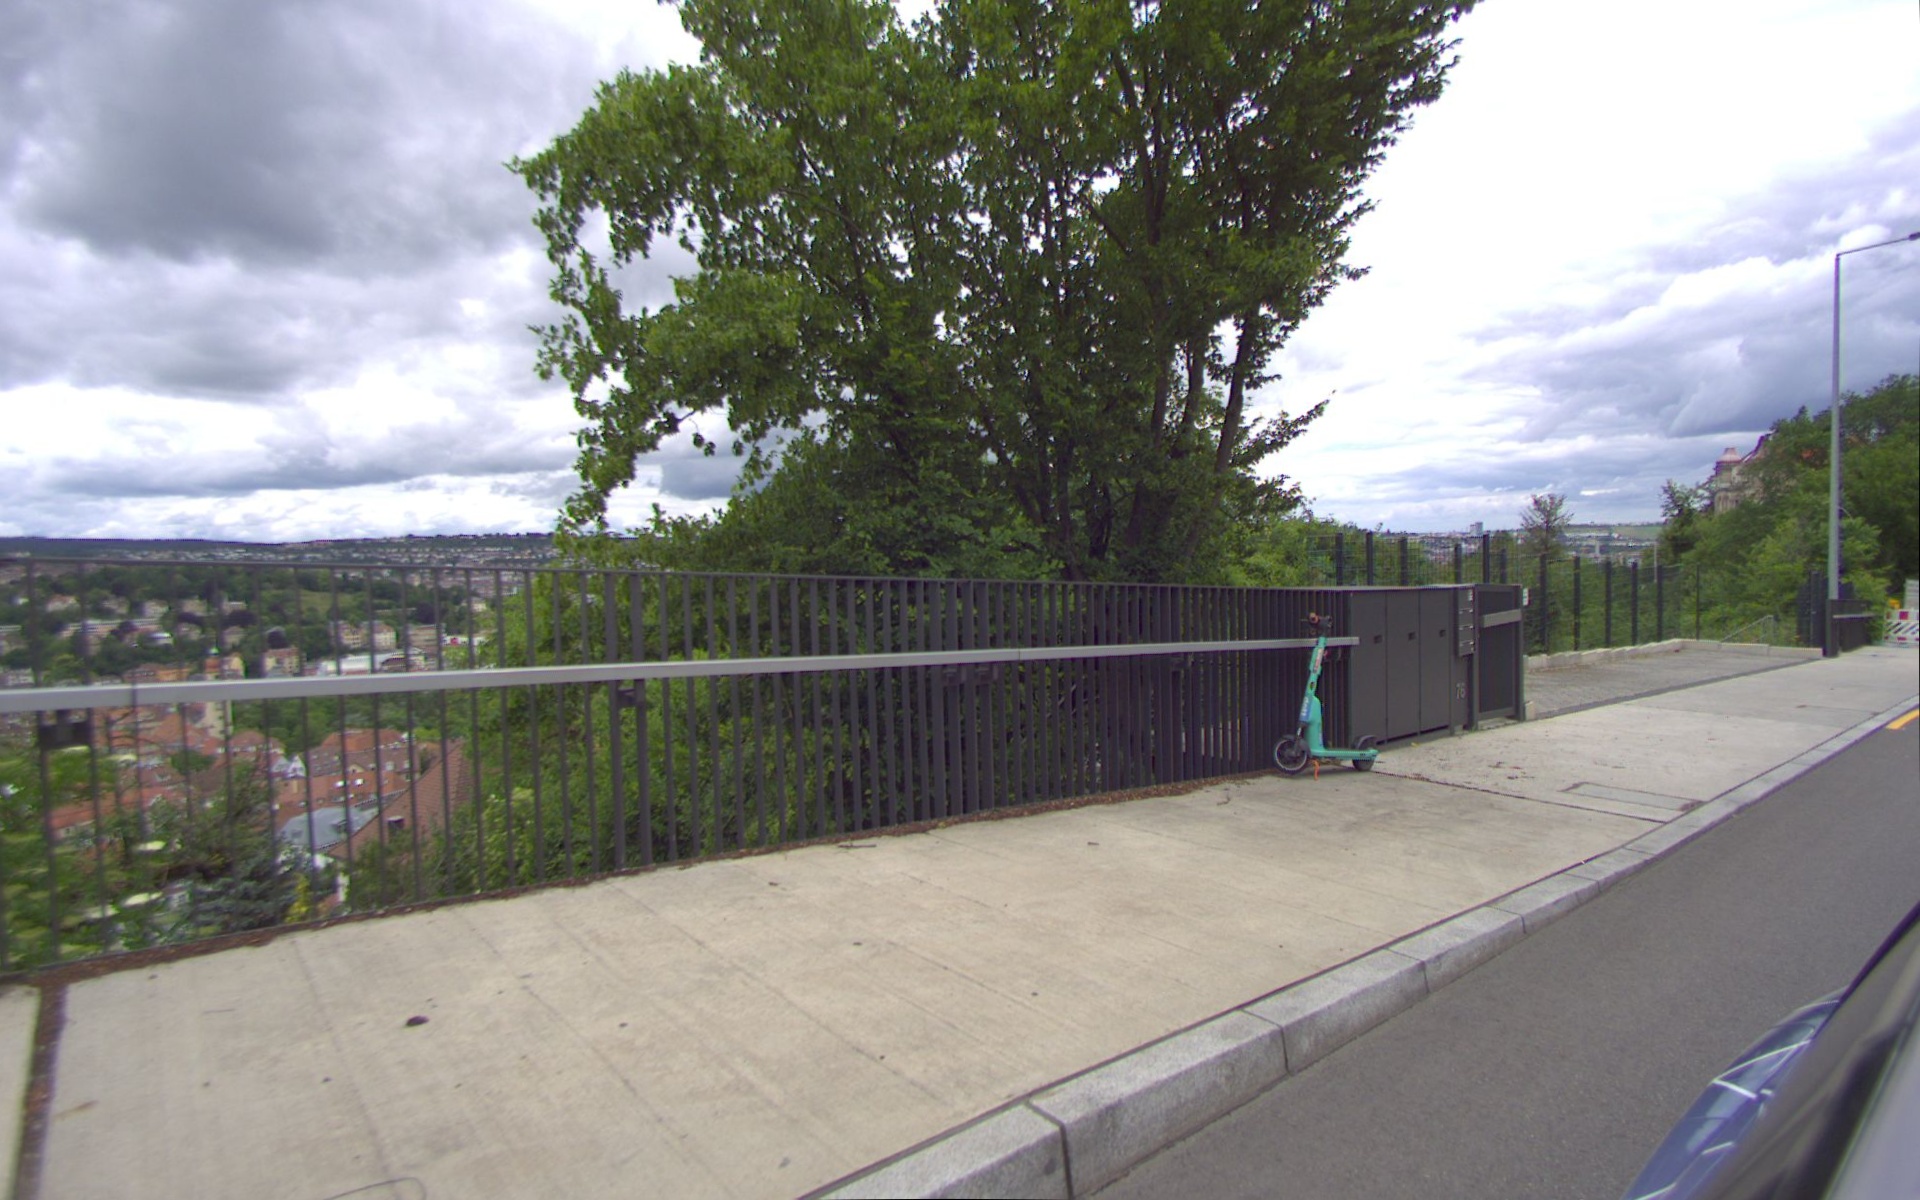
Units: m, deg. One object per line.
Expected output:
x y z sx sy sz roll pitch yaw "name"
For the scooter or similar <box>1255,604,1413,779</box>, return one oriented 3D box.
2.928 0.675 7.898 1.183 1.242 0.536 1 1 -35 "scooter or similar"
